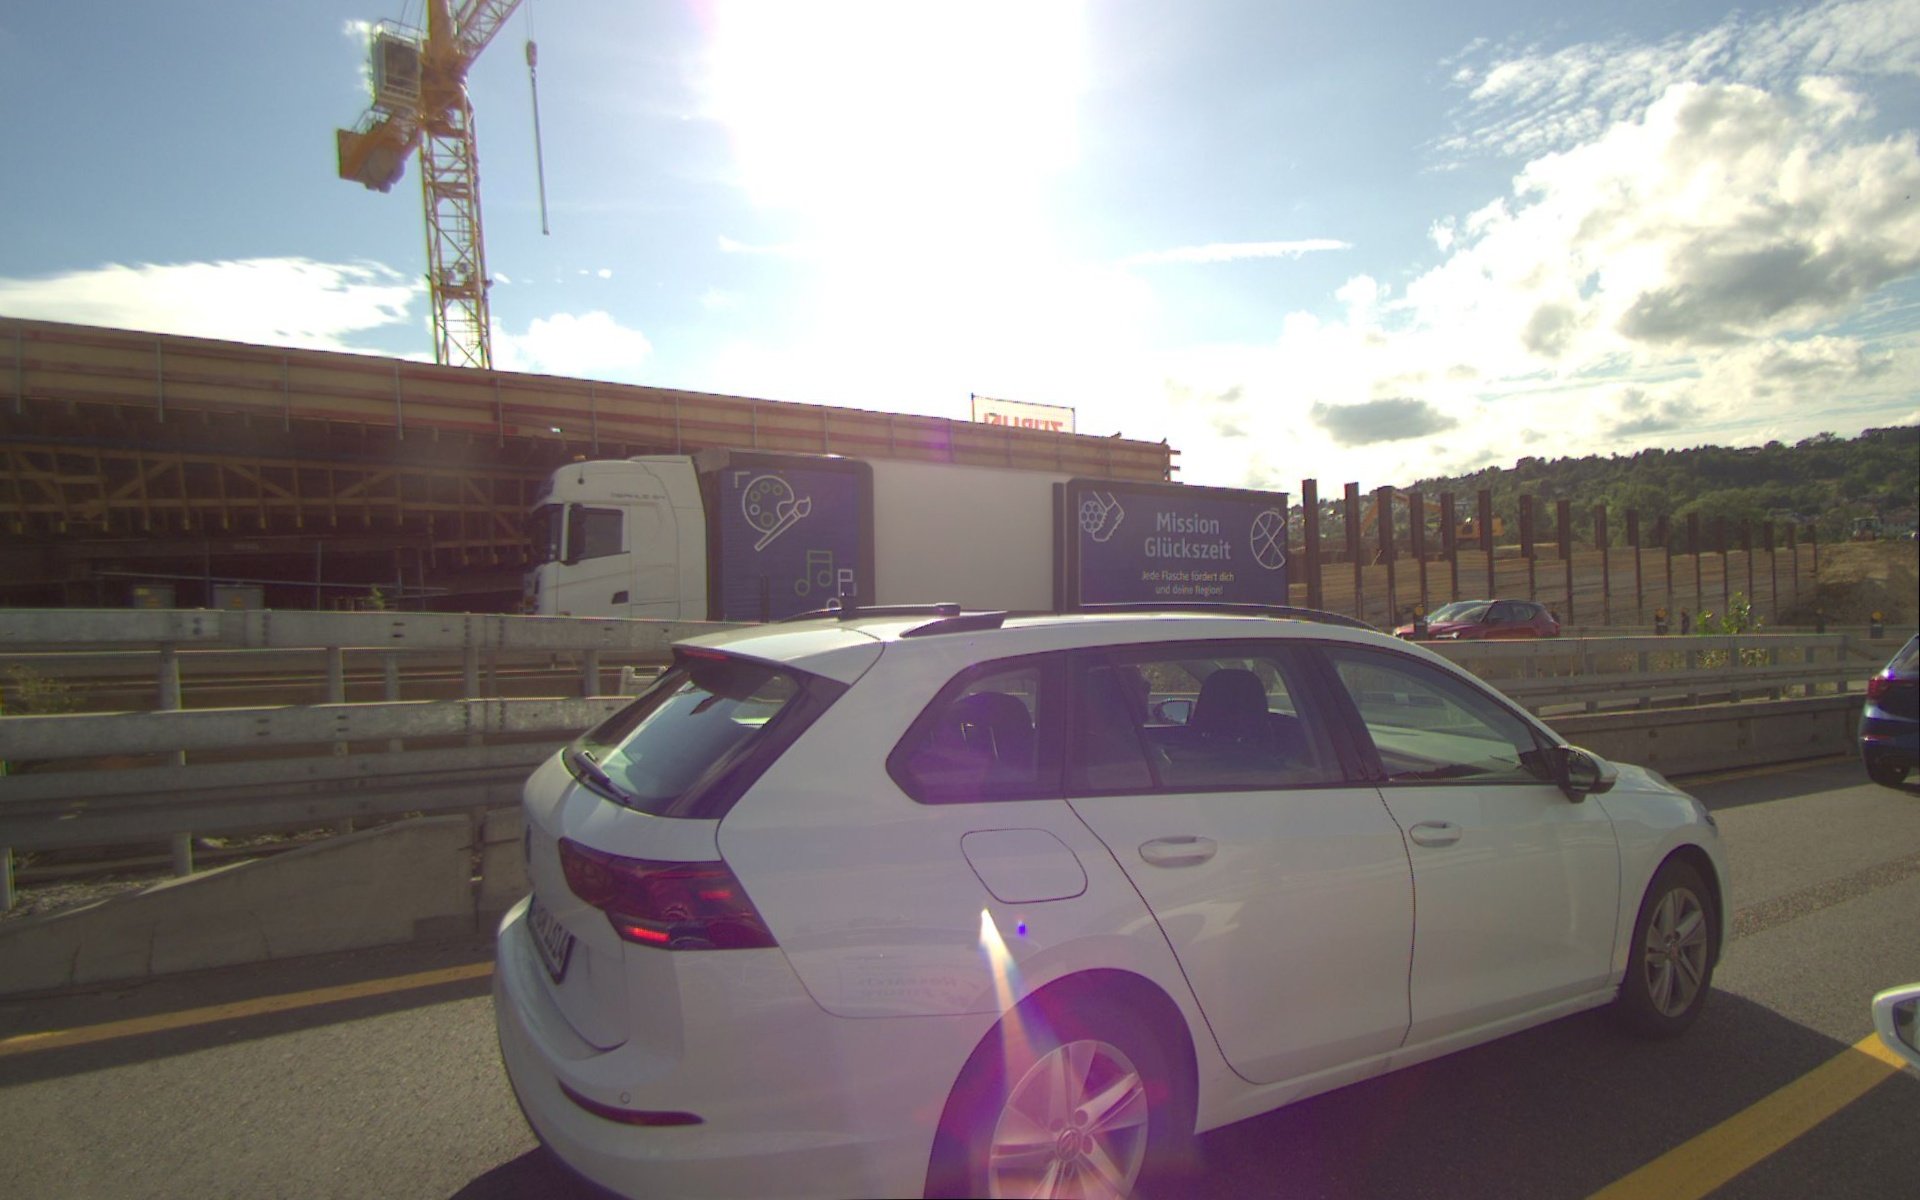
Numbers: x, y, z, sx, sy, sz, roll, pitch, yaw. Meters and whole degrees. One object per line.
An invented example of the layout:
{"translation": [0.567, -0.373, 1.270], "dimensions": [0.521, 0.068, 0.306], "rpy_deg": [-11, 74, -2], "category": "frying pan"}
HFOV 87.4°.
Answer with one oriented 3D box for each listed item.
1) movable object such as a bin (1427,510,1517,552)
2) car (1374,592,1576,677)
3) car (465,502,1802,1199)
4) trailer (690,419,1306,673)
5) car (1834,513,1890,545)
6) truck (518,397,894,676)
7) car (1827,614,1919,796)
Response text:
{"translation": [46.189, -6.156, 90.819], "dimensions": [4.441, 3.314, 5.740], "rpy_deg": [1, 0, -19], "category": "movable object such as a bin"}
{"translation": [11.873, 0.771, 23.162], "dimensions": [4.268, 1.791, 1.918], "rpy_deg": [1, 0, -25], "category": "car"}
{"translation": [0.863, 0.673, 3.441], "dimensions": [4.464, 1.511, 1.761], "rpy_deg": [2, -2, -31], "category": "car"}
{"translation": [1.490, -0.770, 21.254], "dimensions": [13.648, 4.211, 2.675], "rpy_deg": [1, 0, -30], "category": "trailer"}
{"translation": [76.090, -5.940, 84.724], "dimensions": [5.262, 2.168, 1.984], "rpy_deg": [1, -5, -32], "category": "car"}
{"translation": [-4.446, -0.910, 17.787], "dimensions": [5.900, 4.193, 2.699], "rpy_deg": [1, 0, -30], "category": "truck"}
{"translation": [9.525, 0.874, 8.777], "dimensions": [3.952, 1.441, 1.714], "rpy_deg": [1, 0, -29], "category": "car"}
